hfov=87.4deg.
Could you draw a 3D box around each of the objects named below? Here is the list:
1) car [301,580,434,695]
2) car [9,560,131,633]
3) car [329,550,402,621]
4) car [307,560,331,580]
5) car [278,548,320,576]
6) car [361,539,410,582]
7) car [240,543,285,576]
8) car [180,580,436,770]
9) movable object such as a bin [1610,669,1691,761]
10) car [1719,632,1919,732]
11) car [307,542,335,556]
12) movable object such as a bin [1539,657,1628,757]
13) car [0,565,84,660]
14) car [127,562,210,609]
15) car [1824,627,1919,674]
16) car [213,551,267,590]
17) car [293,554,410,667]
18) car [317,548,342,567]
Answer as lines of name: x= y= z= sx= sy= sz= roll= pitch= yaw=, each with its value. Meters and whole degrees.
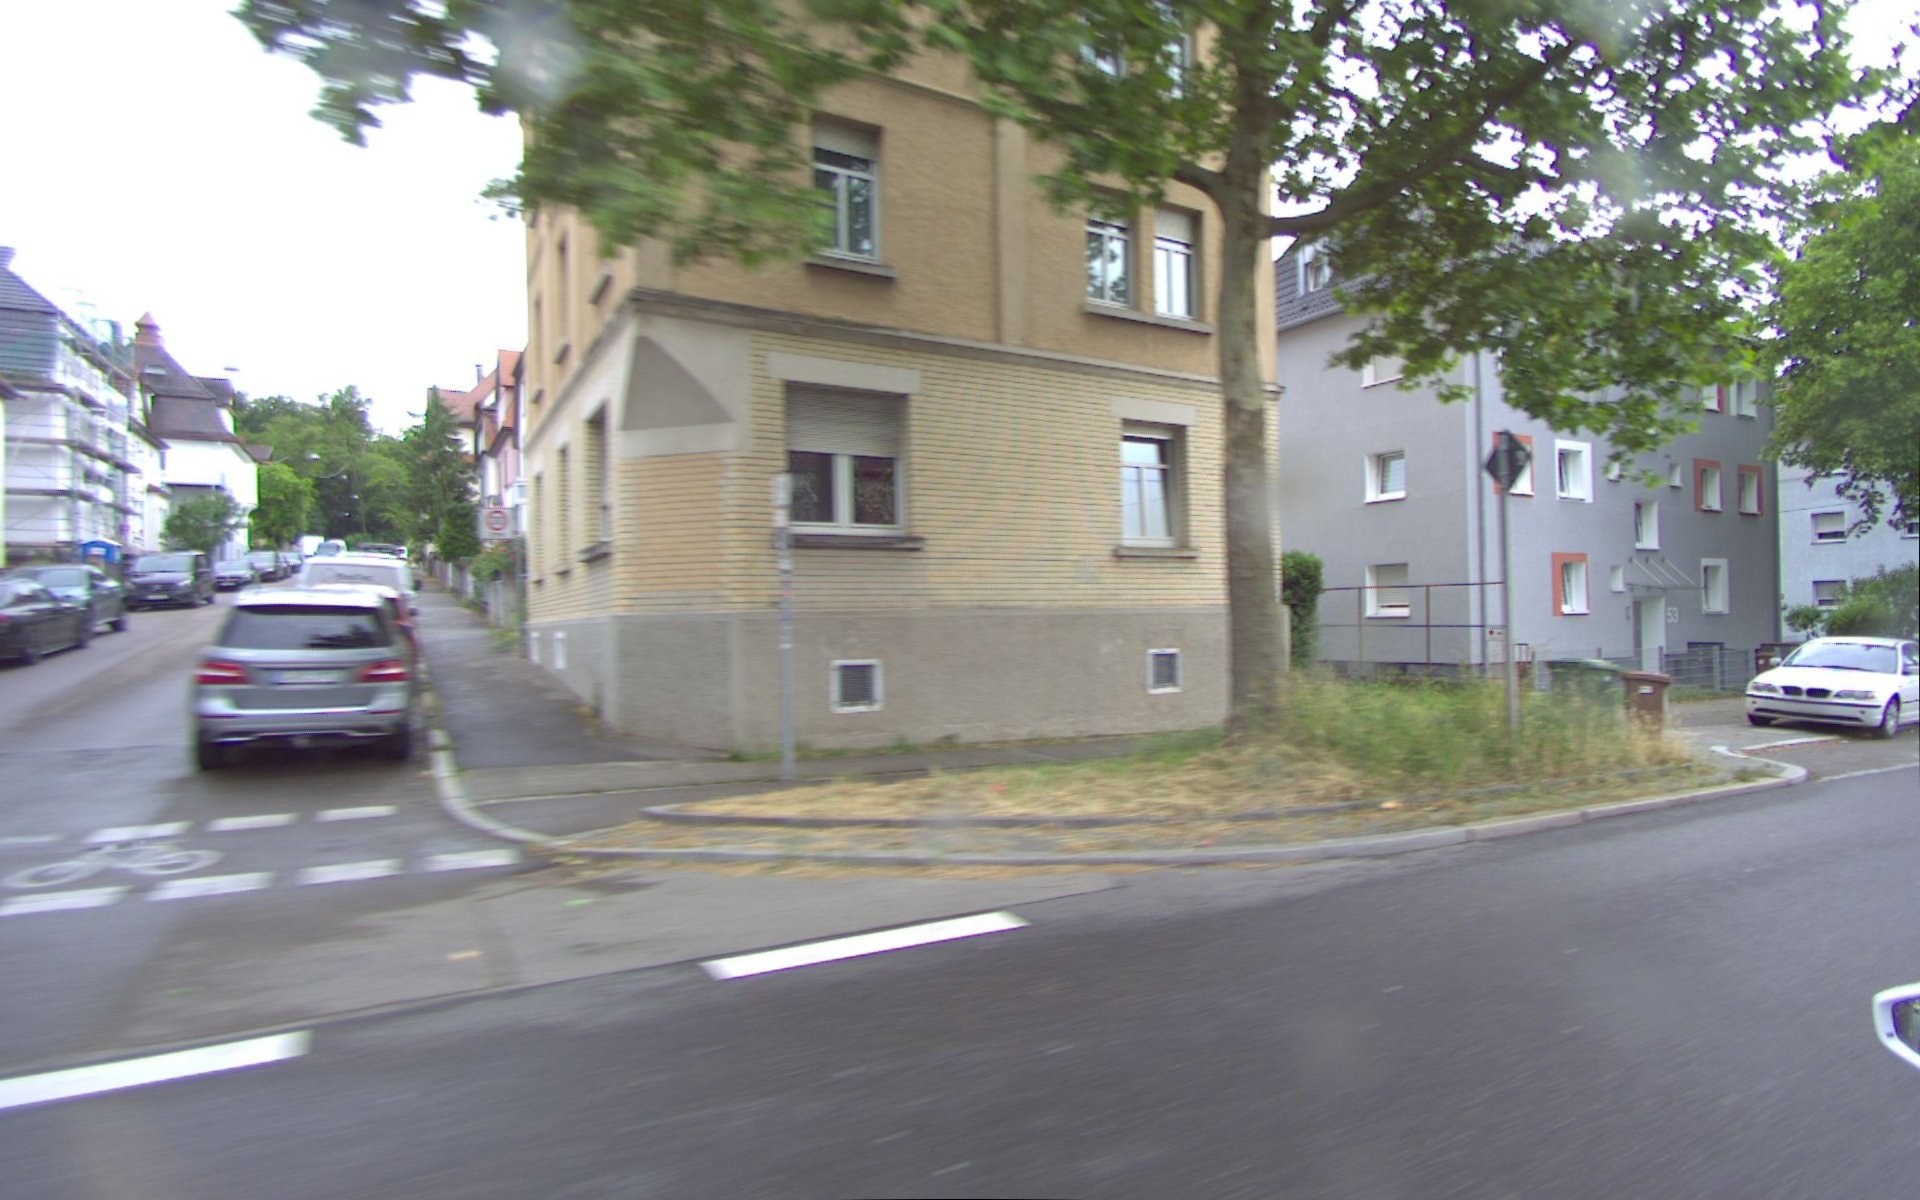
car: x=-9.445 y=0.510 z=16.126 sx=1.622 sy=1.538 sz=3.804 roll=1 pitch=1 yaw=-30
car: x=-19.481 y=-0.083 z=22.103 sx=1.323 sy=1.471 sz=3.237 roll=2 pitch=0 yaw=-30
car: x=-17.919 y=-0.474 z=30.384 sx=1.700 sy=1.947 sz=3.563 roll=2 pitch=2 yaw=-29
car: x=-59.387 y=-2.765 z=93.105 sx=1.568 sy=1.773 sz=3.843 roll=2 pitch=0 yaw=-28
car: x=-45.635 y=-2.611 z=69.431 sx=1.975 sy=1.751 sz=3.971 roll=2 pitch=-1 yaw=-28
car: x=-31.171 y=-2.165 z=54.599 sx=2.082 sy=2.041 sz=4.254 roll=2 pitch=3 yaw=-28
car: x=-38.803 y=-2.278 z=55.937 sx=1.709 sy=1.687 sz=3.552 roll=2 pitch=2 yaw=-30
car: x=-7.214 y=0.679 z=11.388 sx=2.020 sy=1.633 sz=4.093 roll=2 pitch=1 yaw=-31
movable object such as a bin: x=7.376 y=1.214 z=10.738 sx=0.574 sy=0.940 sz=0.510 roll=2 pitch=-3 yaw=-30
car: x=13.959 y=1.212 z=15.878 sx=4.491 sy=1.344 sz=1.745 roll=1 pitch=-1 yaw=-33
car: x=-85.913 y=-6.907 z=135.023 sx=1.394 sy=1.687 sz=2.876 roll=4 pitch=2 yaw=32
movable object such as a bin: x=6.948 y=1.173 z=11.197 sx=0.753 sy=1.071 sz=0.532 roll=2 pitch=-3 yaw=-30
car: x=-16.644 y=0.149 z=17.305 sx=1.616 sy=1.402 sz=3.552 roll=2 pitch=2 yaw=-30
car: x=-26.478 y=-0.509 z=33.692 sx=1.709 sy=1.371 sz=3.199 roll=2 pitch=2 yaw=-30
car: x=32.414 y=1.737 z=33.879 sx=1.848 sy=1.496 sz=4.641 roll=2 pitch=-1 yaw=-29
car: x=-33.170 y=-1.390 z=46.359 sx=1.583 sy=1.509 sz=3.357 roll=2 pitch=4 yaw=-29
car: x=-12.087 y=0.138 z=20.107 sx=1.784 sy=1.959 sz=4.011 roll=2 pitch=2 yaw=-30
car: x=-67.062 y=-4.538 z=106.884 sx=1.976 sy=1.803 sz=3.968 roll=2 pitch=-1 yaw=-30
